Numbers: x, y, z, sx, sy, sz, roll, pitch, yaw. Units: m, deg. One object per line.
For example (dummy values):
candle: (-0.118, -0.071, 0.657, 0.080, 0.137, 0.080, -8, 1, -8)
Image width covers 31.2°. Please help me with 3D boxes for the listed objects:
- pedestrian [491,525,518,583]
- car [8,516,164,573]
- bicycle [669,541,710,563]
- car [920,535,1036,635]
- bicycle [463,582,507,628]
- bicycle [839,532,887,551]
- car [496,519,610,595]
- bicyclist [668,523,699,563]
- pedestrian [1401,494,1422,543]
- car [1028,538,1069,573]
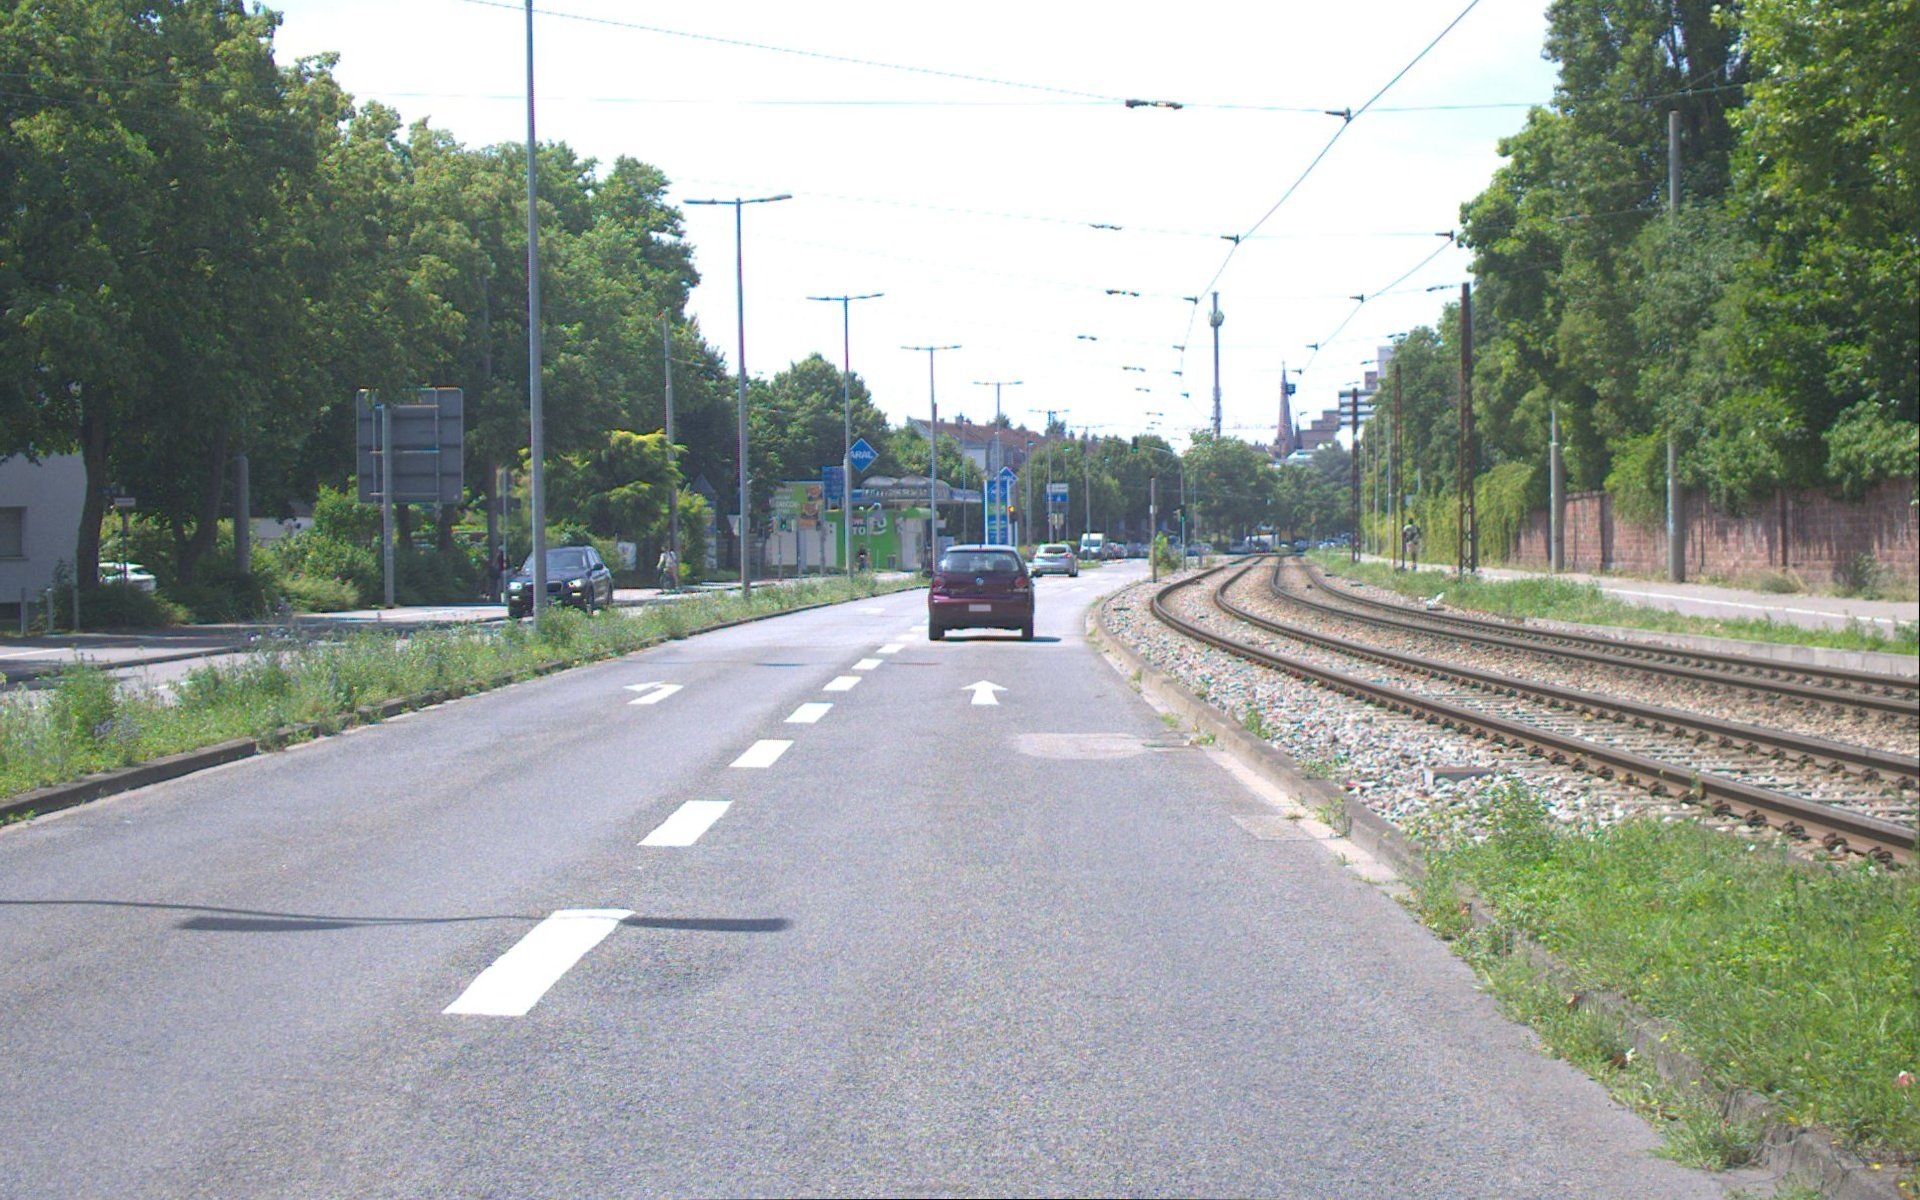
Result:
pedestrian: (-13.590, -1.368, 102.530, 0.549, 1.712, 0.603, -1, 1, 18)
car: (-28.816, -1.842, 113.405, 4.665, 1.752, 2.000, -2, 1, -4)
bicycle: (-9.711, -1.721, 123.407, 1.428, 0.771, 0.497, -3, 2, -36)
car: (0.279, -0.236, 53.635, 1.703, 1.472, 3.716, 1, 0, 0)
bicycle: (-14.168, 0.142, 102.550, 0.646, 1.323, 1.572, -2, 1, 17)
bicycle: (-5.379, -3.254, 190.045, 2.549, 1.034, 1.088, 0, 0, -8)
car: (-9.347, -1.012, 79.290, 1.923, 1.620, 4.756, -2, 1, 1)
bicyclist: (-9.903, -2.039, 123.259, 0.961, 1.398, 0.491, -3, 2, -36)
pedestrian: (15.962, -2.881, 121.527, 0.661, 1.720, 0.816, -1, 1, 4)
car: (3.940, -1.986, 153.040, 1.703, 1.475, 3.716, 1, 1, 0)
